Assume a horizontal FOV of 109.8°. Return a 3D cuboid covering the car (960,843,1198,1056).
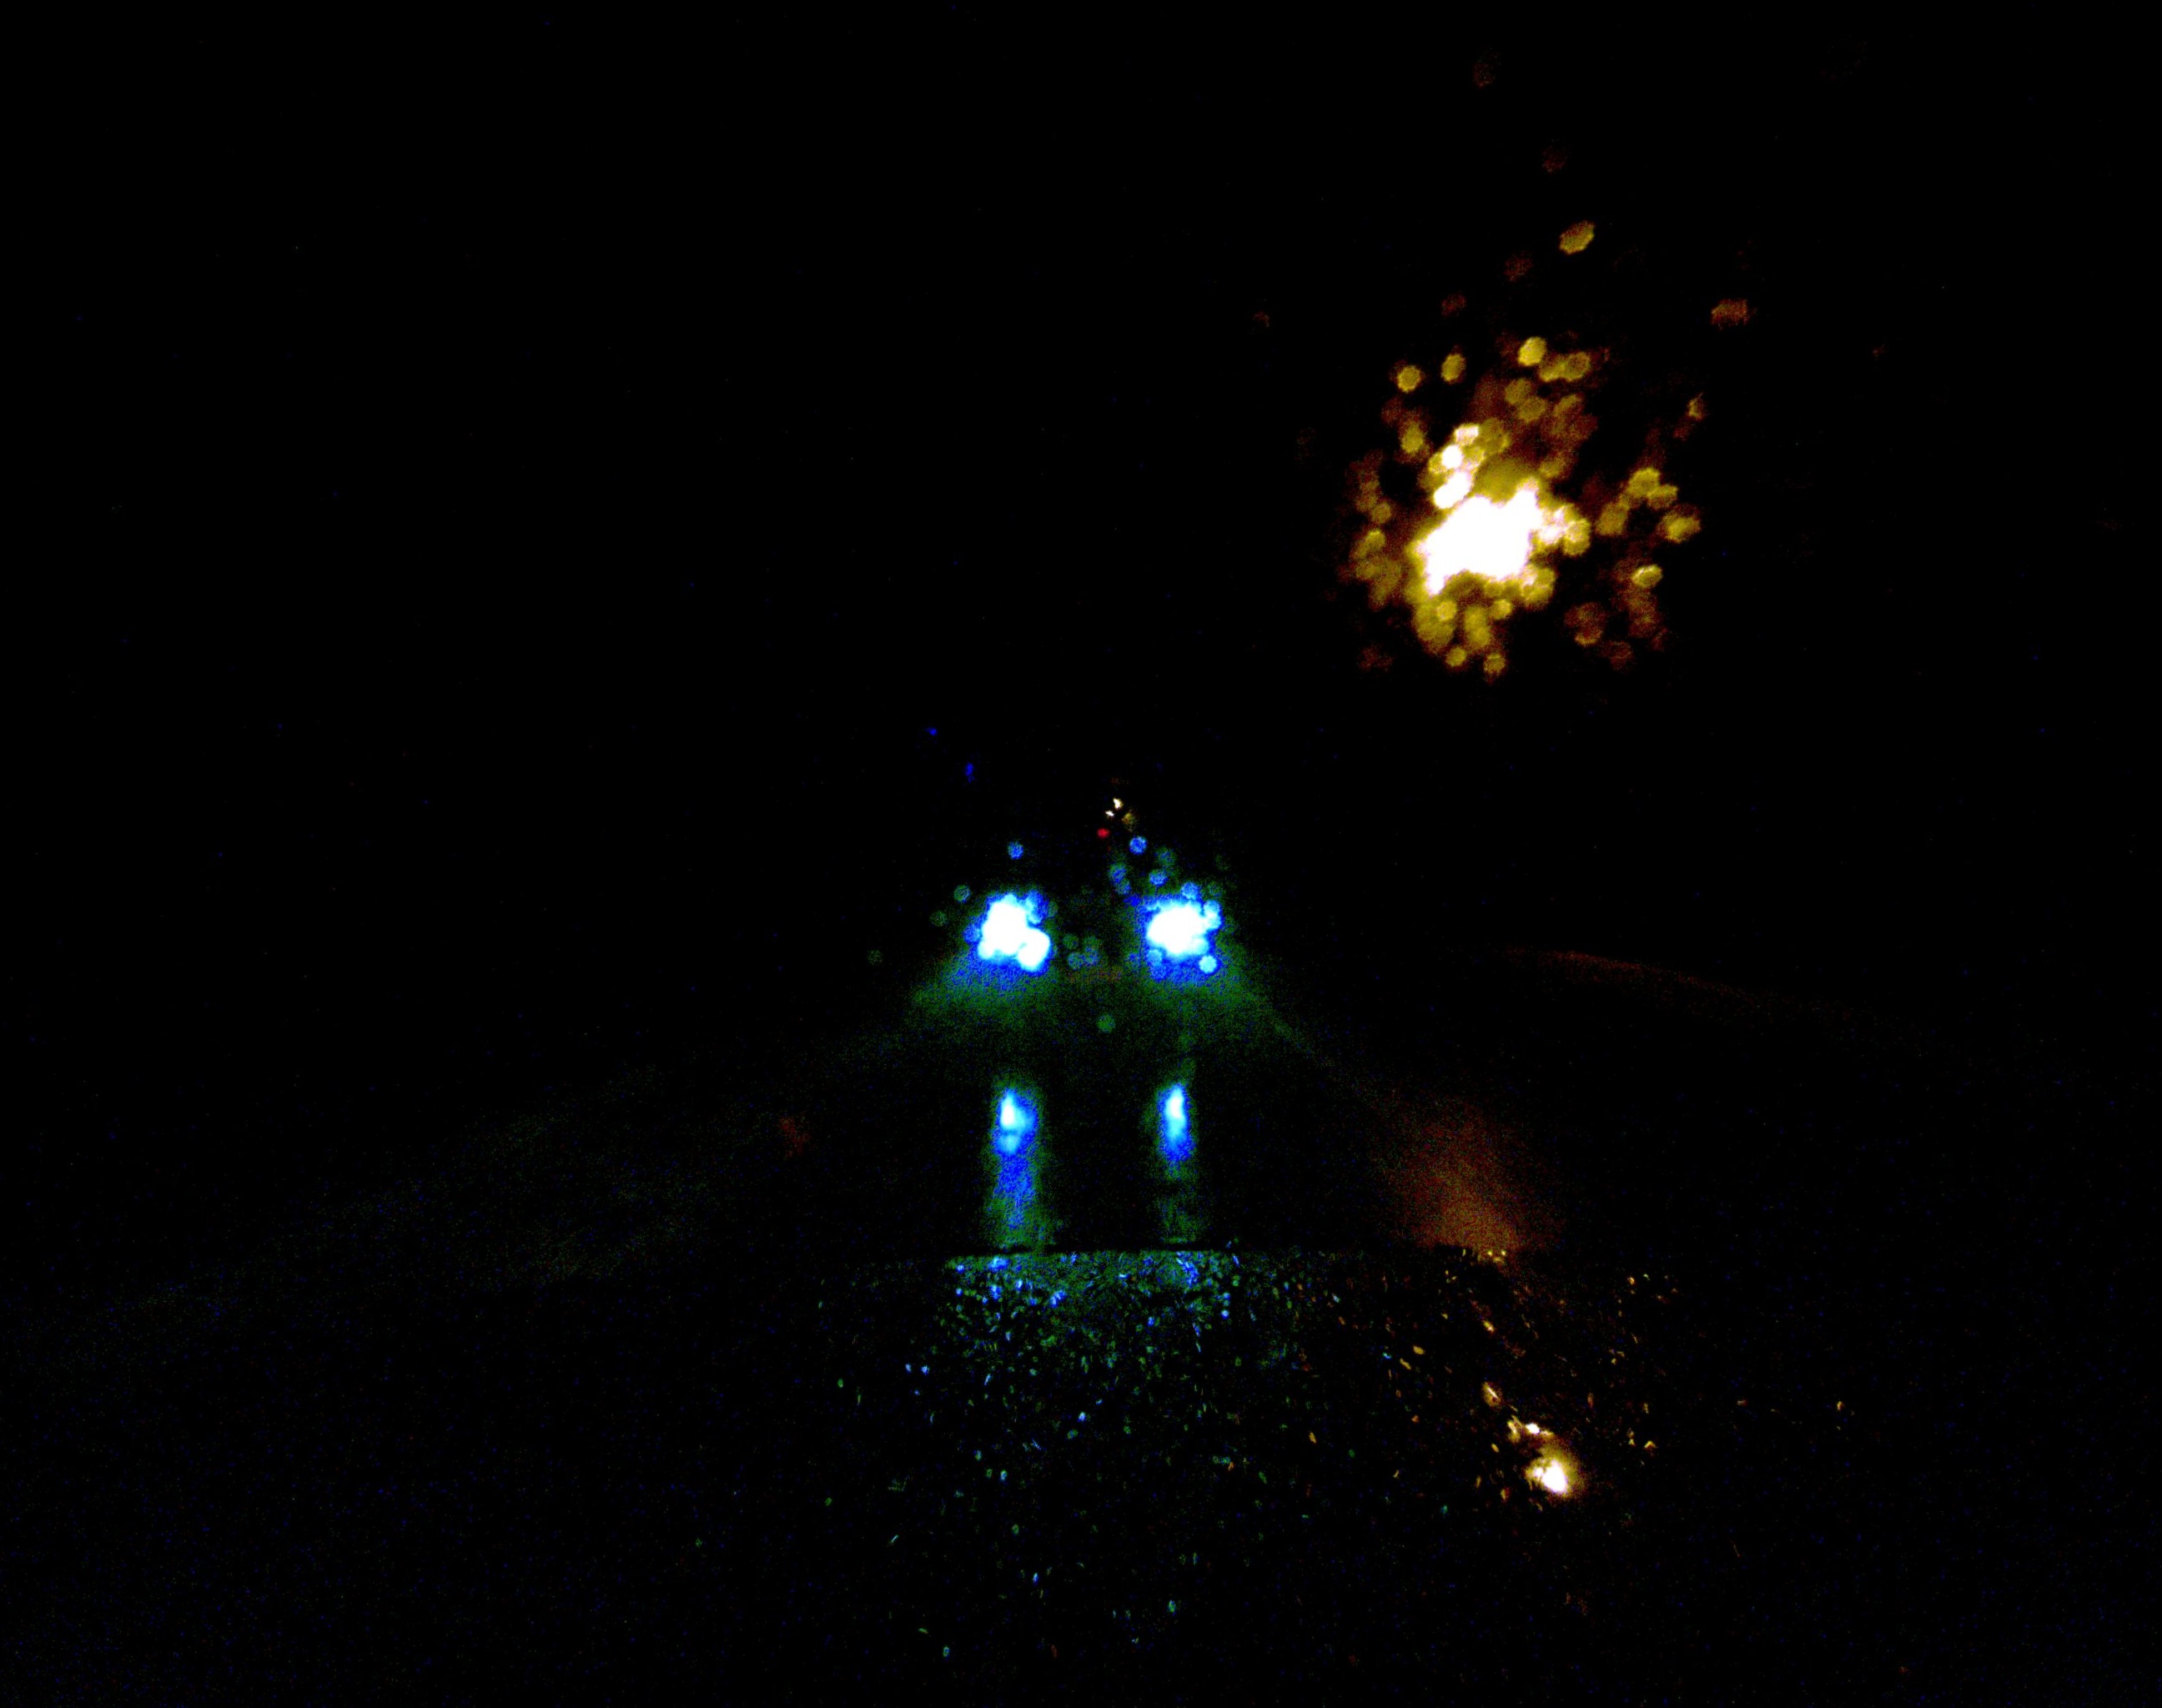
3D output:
[{"bbox_3d":[0.057,0.751,8.329,1.893,1.678,4.339,-1,1,2],"label":"car"}]
